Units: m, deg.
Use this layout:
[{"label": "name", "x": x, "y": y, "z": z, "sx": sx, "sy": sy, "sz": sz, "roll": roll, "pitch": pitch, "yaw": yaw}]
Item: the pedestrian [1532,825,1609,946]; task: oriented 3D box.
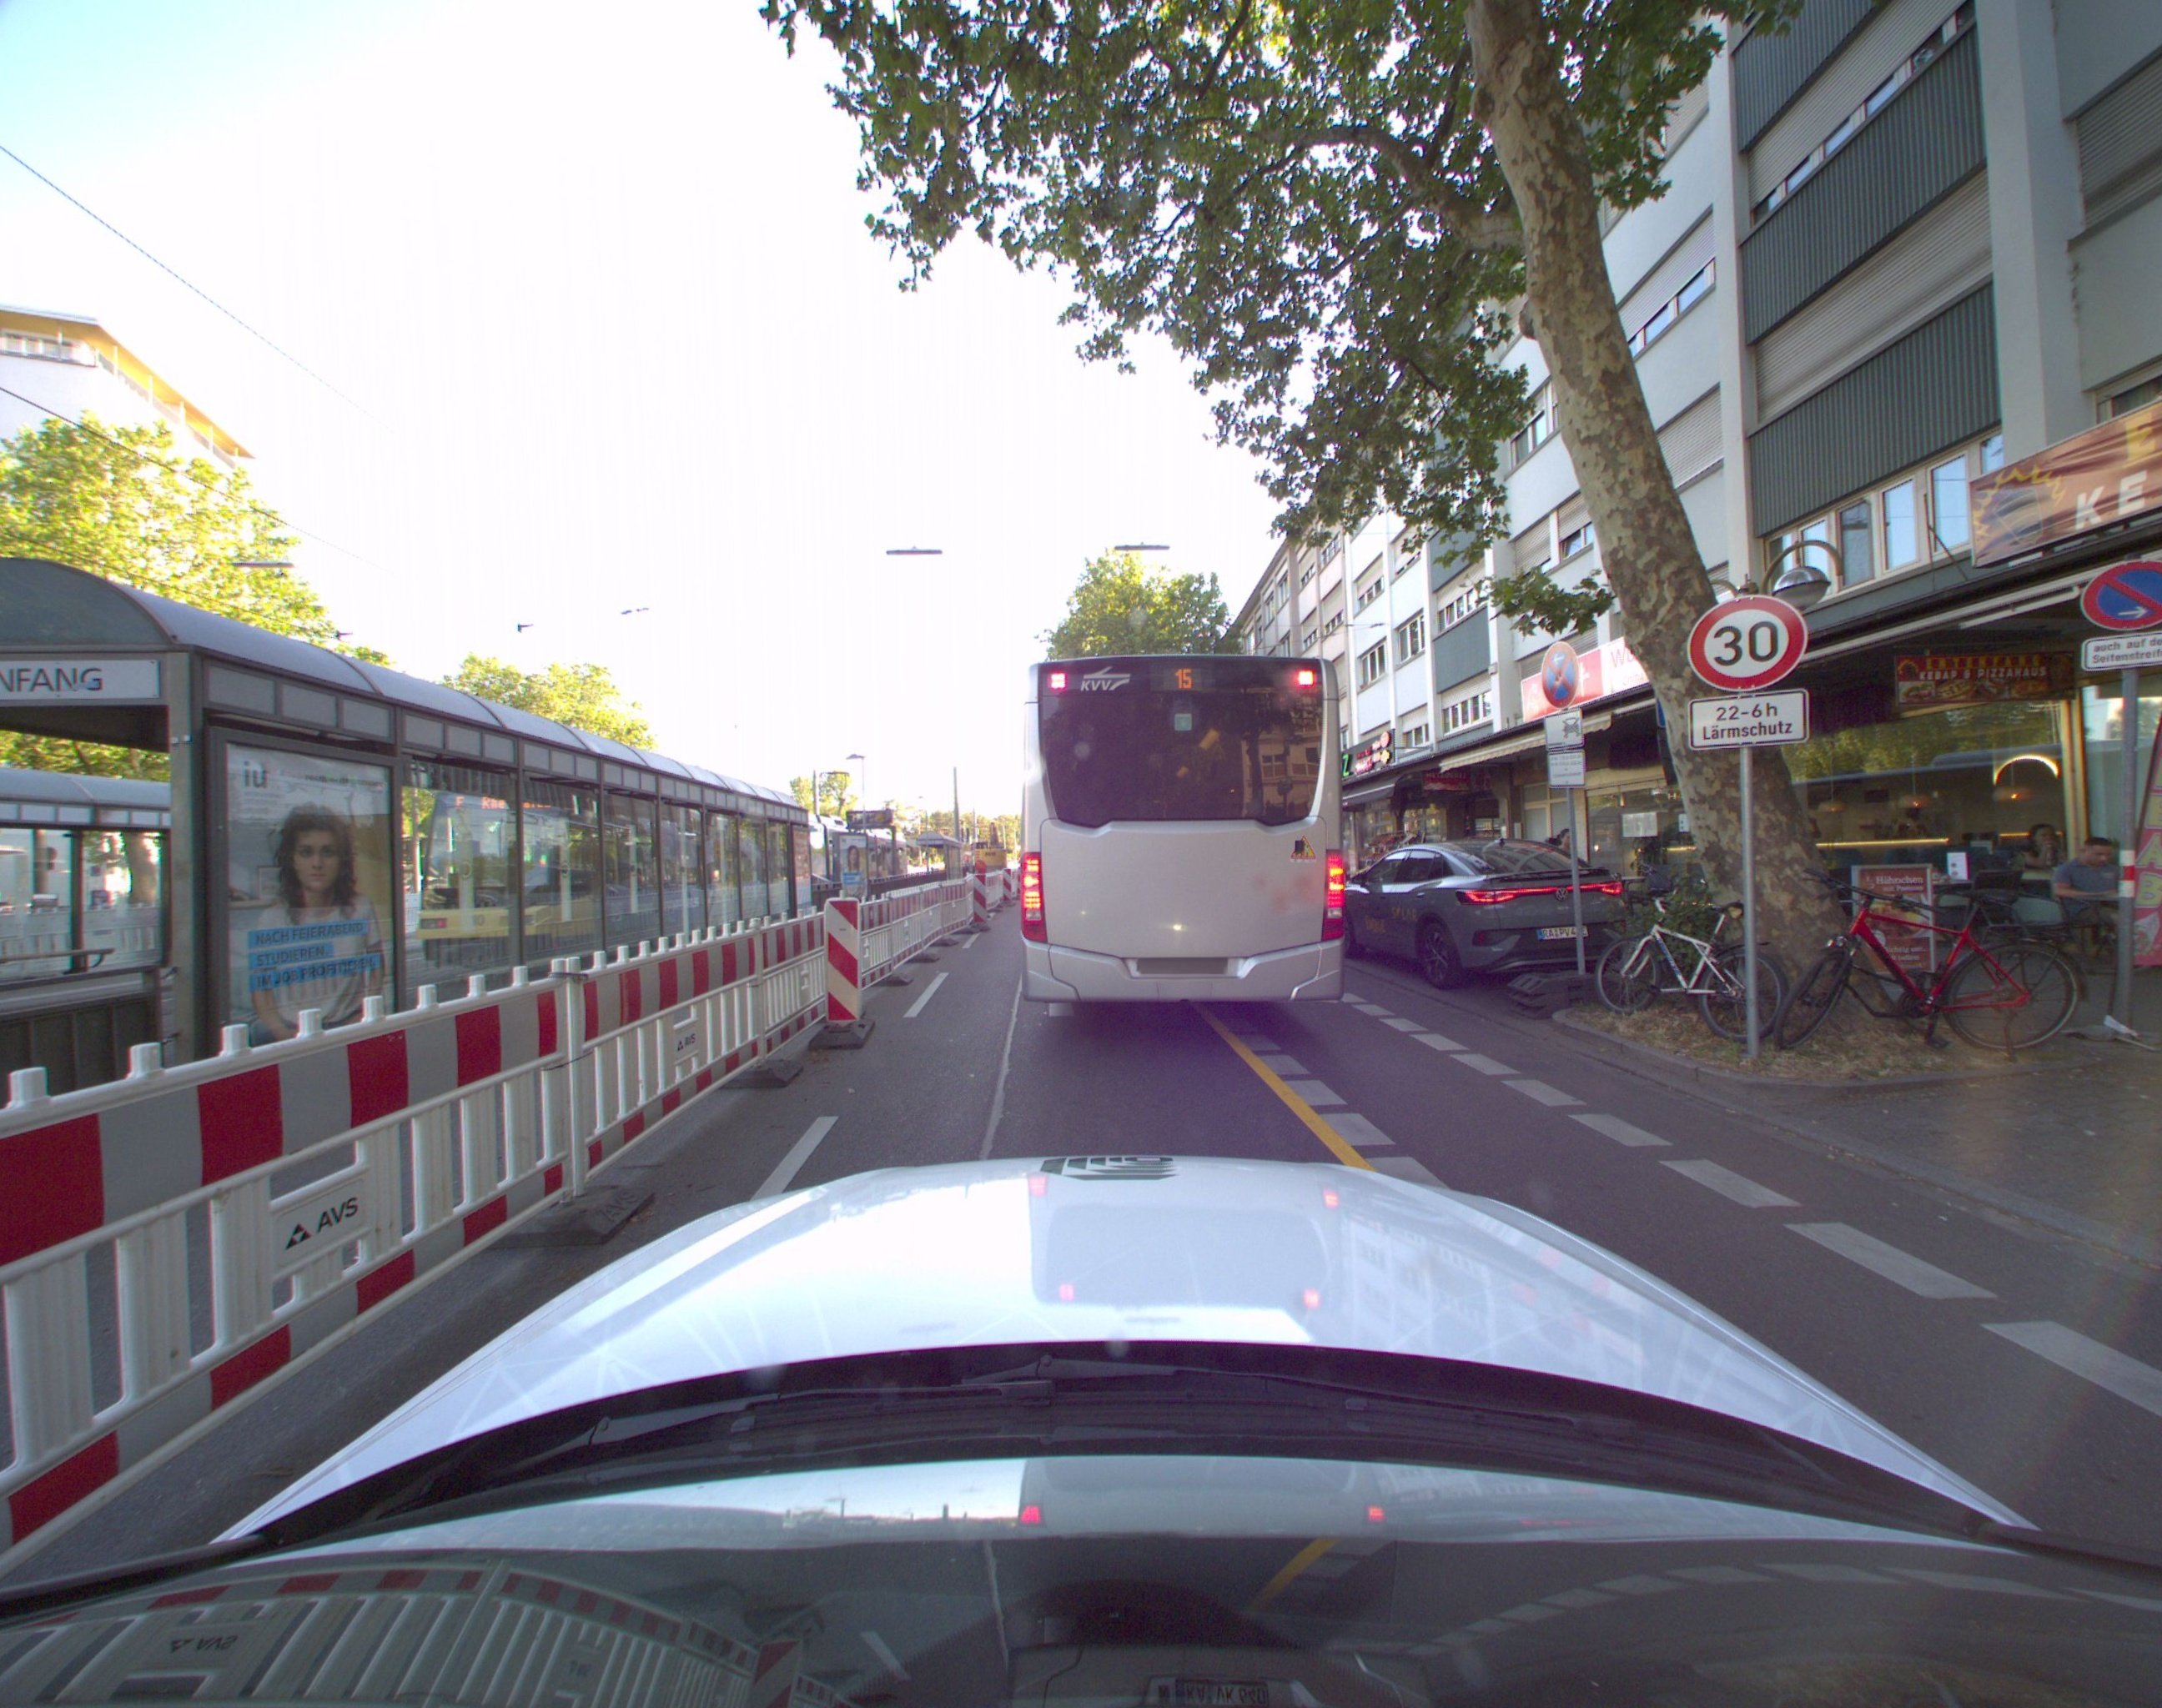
[{"label": "pedestrian", "x": 6.965, "y": 0.429, "z": 11.615, "sx": 0.580, "sy": 1.646, "sz": 0.796, "roll": -2, "pitch": 0, "yaw": 0}]

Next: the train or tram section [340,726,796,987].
[{"label": "train or tram section", "x": -9.025, "y": 0.074, "z": 16.984, "sx": 2.681, "sy": 3.534, "sz": 11.756, "roll": 0, "pitch": 0, "yaw": -3}]

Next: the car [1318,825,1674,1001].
[{"label": "car", "x": 4.721, "y": 0.569, "z": 10.176, "sx": 1.989, "sy": 1.582, "sz": 4.364, "roll": -4, "pitch": 0, "yaw": -3}]

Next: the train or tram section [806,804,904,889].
[{"label": "train or tram section", "x": -10.767, "y": -0.270, "z": 40.038, "sx": 2.683, "sy": 3.533, "sz": 11.558, "roll": 0, "pitch": -1, "yaw": -6}]

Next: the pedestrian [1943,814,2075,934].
[{"label": "pedestrian", "x": 10.989, "y": 0.224, "z": 9.651, "sx": 0.836, "sy": 1.333, "sz": 0.963, "roll": -2, "pitch": -1, "yaw": -39}]

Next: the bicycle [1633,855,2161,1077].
[{"label": "bicycle", "x": 5.060, "y": 0.717, "z": 5.218, "sx": 2.370, "sy": 1.155, "sz": 0.557, "roll": -7, "pitch": -2, "yaw": 14}]

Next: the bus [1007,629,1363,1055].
[{"label": "bus", "x": 0.888, "y": -0.066, "z": 9.996, "sx": 2.601, "sy": 3.126, "sz": 7.996, "roll": 0, "pitch": 0, "yaw": 2}]

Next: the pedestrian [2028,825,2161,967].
[{"label": "pedestrian", "x": 9.596, "y": 0.377, "z": 7.646, "sx": 0.555, "sy": 1.245, "sz": 0.692, "roll": -4, "pitch": 0, "yaw": 8}]

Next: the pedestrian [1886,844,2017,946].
[{"label": "pedestrian", "x": 9.858, "y": 0.446, "z": 9.233, "sx": 0.643, "sy": 1.081, "sz": 0.945, "roll": -2, "pitch": -1, "yaw": -39}]

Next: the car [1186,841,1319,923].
[{"label": "car", "x": 3.912, "y": 0.587, "z": 19.424, "sx": 1.989, "sy": 1.582, "sz": 4.364, "roll": -4, "pitch": 0, "yaw": -3}]

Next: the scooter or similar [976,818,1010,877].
[{"label": "scooter or similar", "x": -7.011, "y": -0.479, "z": 65.100, "sx": 2.465, "sy": 4.471, "sz": 5.961, "roll": -2, "pitch": 0, "yaw": -5}]

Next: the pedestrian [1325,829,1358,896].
[{"label": "pedestrian", "x": 7.951, "y": 0.258, "z": 24.879, "sx": 0.683, "sy": 2.014, "sz": 0.786, "roll": -2, "pitch": -1, "yaw": 1}]

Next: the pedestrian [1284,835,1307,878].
[{"label": "pedestrian", "x": 9.234, "y": 0.104, "z": 35.063, "sx": 0.684, "sy": 1.836, "sz": 0.785, "roll": -2, "pitch": -1, "yaw": -1}]

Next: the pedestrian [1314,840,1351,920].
[{"label": "pedestrian", "x": 5.433, "y": 0.545, "z": 17.587, "sx": 0.658, "sy": 1.666, "sz": 0.603, "roll": -4, "pitch": -1, "yaw": 18}]

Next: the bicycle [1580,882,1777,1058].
[{"label": "bicycle", "x": 4.575, "y": 0.831, "z": 6.359, "sx": 0.550, "sy": 1.155, "sz": 1.446, "roll": -2, "pitch": -1, "yaw": 6}]

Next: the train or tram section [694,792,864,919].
[{"label": "train or tram section", "x": -9.988, "y": 0.082, "z": 28.570, "sx": 2.682, "sy": 3.558, "sz": 11.559, "roll": 0, "pitch": -1, "yaw": -5}]
